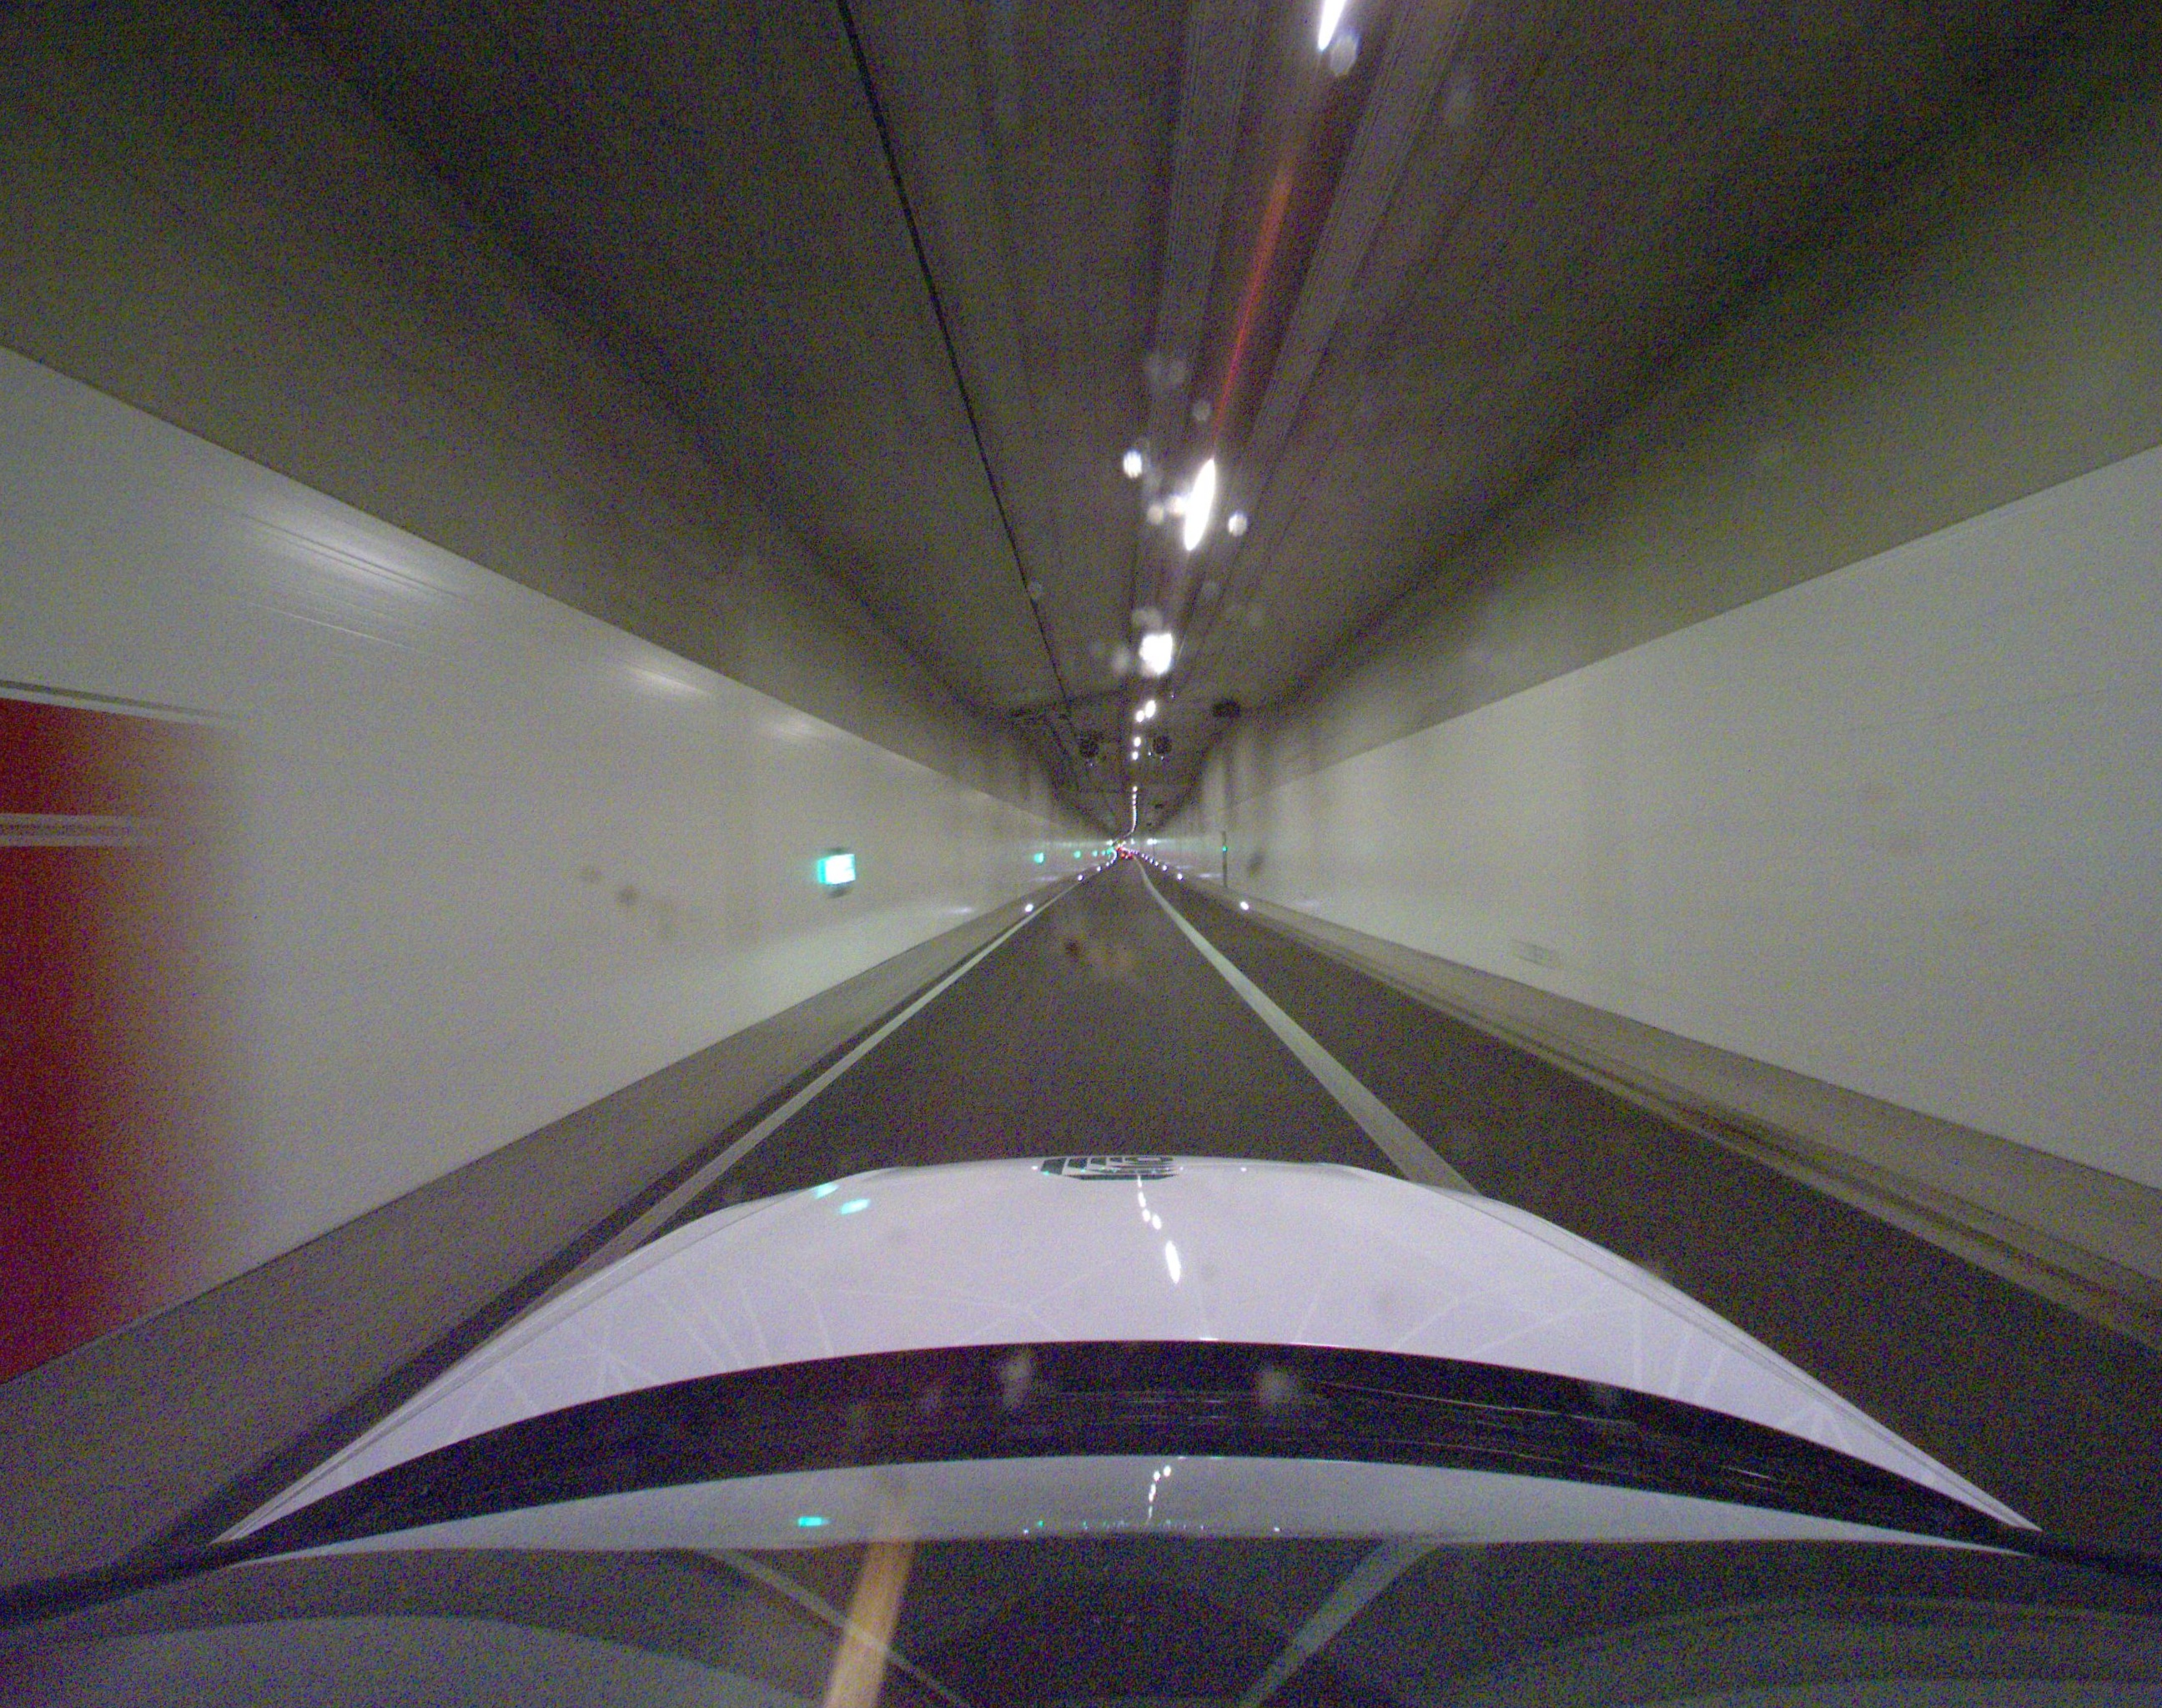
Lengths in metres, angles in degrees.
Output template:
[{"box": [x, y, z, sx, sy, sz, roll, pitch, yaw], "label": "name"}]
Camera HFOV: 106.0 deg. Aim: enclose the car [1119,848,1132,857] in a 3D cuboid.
[{"box": [7.392, -0.202, 134.300, 1.986, 1.420, 4.001, -2, 0, 1], "label": "car"}]
